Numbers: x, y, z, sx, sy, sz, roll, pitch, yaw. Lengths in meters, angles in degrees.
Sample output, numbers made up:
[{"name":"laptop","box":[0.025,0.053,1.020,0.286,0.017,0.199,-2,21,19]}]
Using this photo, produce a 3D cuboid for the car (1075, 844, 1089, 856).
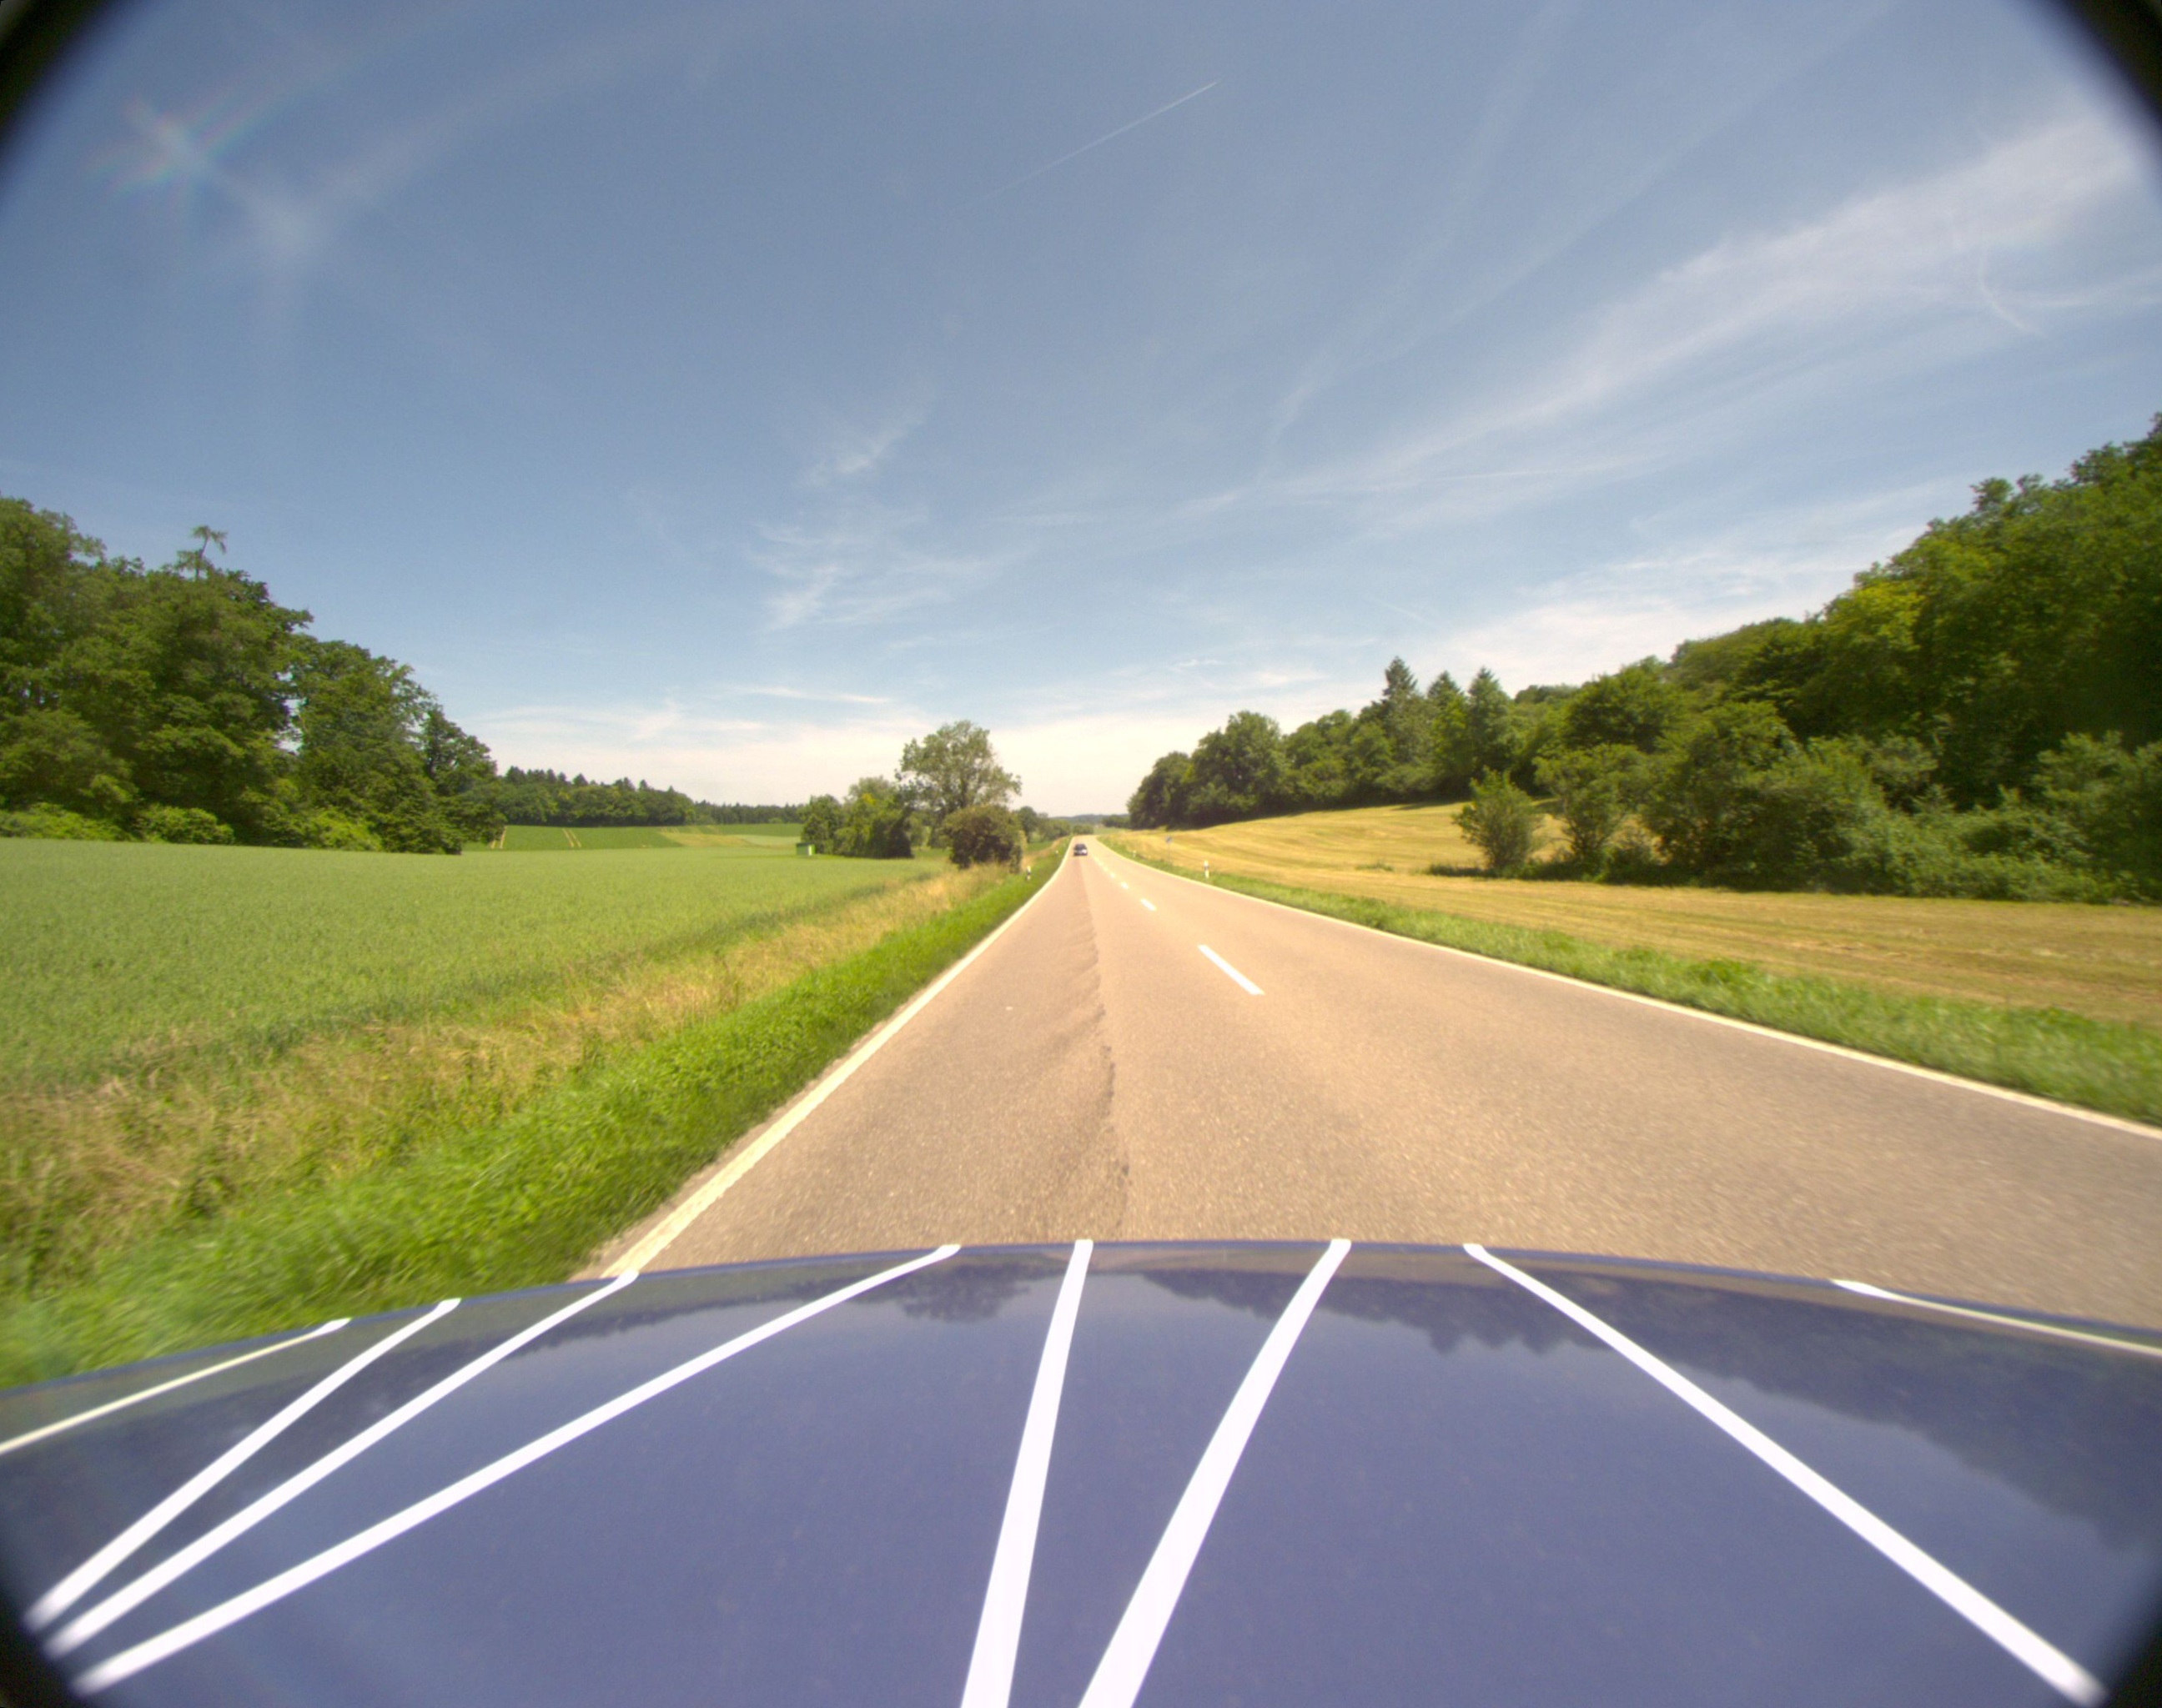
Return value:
[{"name":"car","box":[0.115,-0.522,102.363,1.816,1.569,4.154,-3,-1,0]}]
